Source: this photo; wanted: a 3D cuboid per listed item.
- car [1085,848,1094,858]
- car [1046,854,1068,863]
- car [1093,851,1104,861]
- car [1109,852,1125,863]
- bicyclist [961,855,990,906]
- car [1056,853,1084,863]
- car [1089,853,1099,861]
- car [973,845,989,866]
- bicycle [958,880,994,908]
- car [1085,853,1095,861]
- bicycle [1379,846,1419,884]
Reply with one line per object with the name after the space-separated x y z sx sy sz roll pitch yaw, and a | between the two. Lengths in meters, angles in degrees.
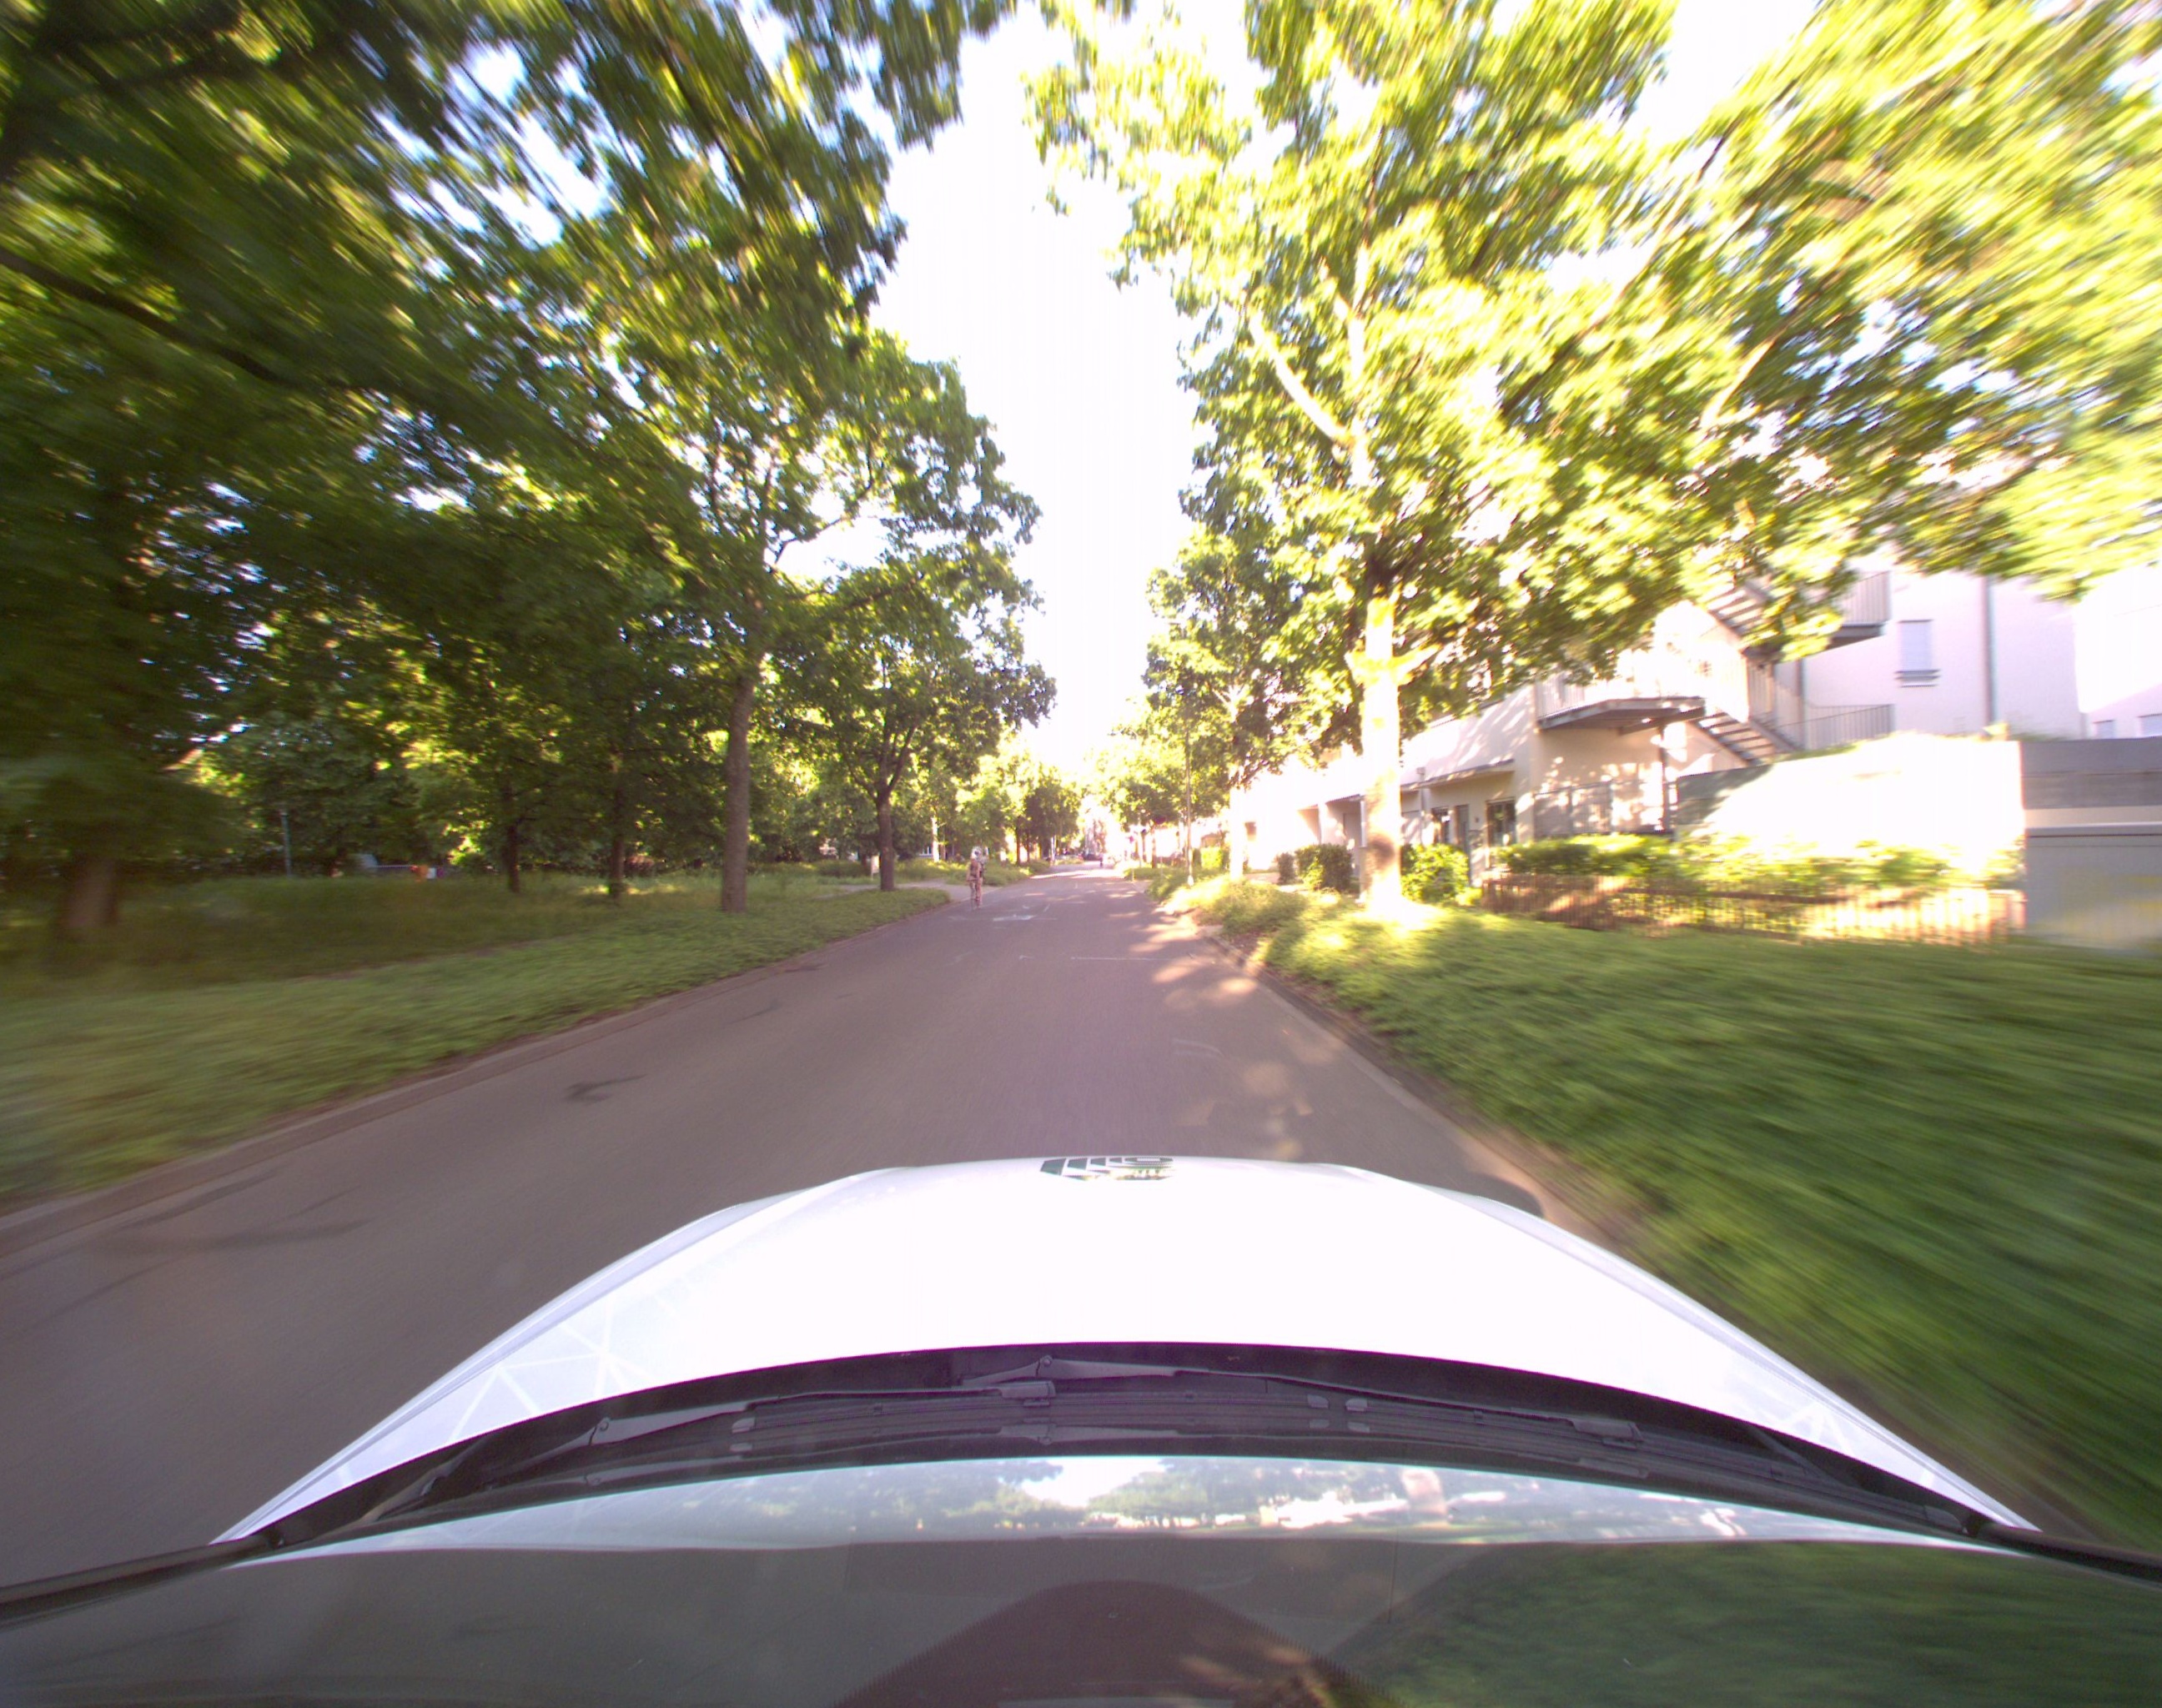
1.854 -0.181 178.485 1.807 2.050 3.996 0 0 -3 | car
-3.940 0.749 135.126 3.584 1.510 1.496 0 0 -8 | car
3.218 0.369 153.587 1.807 1.925 3.996 0 0 -3 | car
5.437 0.543 124.859 1.809 1.501 3.991 -2 0 -6 | car
-3.334 0.812 25.855 0.630 1.555 1.004 -3 0 5 | bicyclist
-1.645 0.652 122.695 3.983 1.501 1.813 0 0 -7 | car
2.535 0.603 161.729 1.807 1.501 3.996 0 0 -3 | car
-12.483 0.170 101.529 1.992 2.508 3.989 -1 0 -8 | car
-3.319 1.253 25.822 0.636 0.742 2.129 -3 0 5 | bicycle
1.800 0.635 168.270 1.807 1.501 3.996 0 0 -3 | car
10.197 0.341 26.177 0.615 1.191 1.753 -1 0 1 | bicycle
